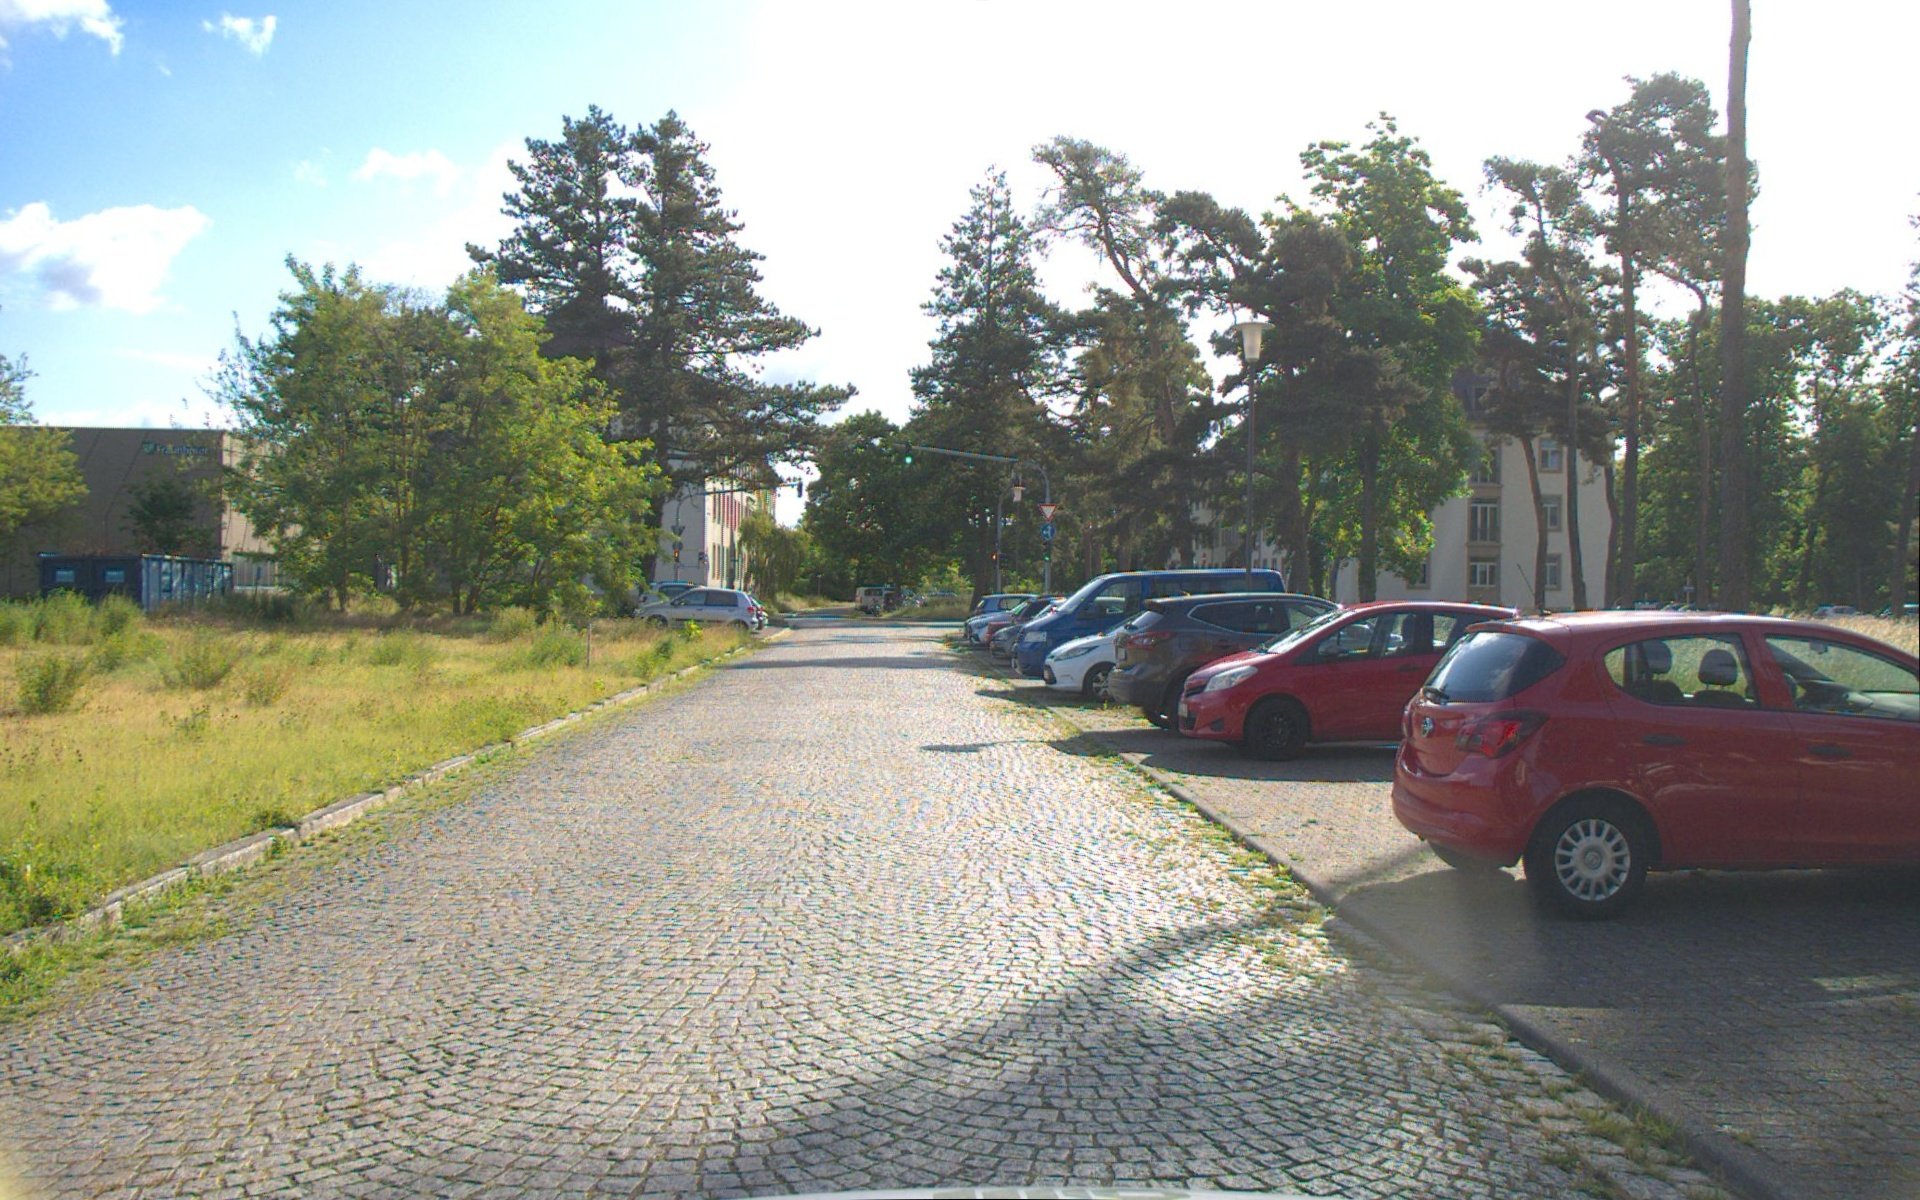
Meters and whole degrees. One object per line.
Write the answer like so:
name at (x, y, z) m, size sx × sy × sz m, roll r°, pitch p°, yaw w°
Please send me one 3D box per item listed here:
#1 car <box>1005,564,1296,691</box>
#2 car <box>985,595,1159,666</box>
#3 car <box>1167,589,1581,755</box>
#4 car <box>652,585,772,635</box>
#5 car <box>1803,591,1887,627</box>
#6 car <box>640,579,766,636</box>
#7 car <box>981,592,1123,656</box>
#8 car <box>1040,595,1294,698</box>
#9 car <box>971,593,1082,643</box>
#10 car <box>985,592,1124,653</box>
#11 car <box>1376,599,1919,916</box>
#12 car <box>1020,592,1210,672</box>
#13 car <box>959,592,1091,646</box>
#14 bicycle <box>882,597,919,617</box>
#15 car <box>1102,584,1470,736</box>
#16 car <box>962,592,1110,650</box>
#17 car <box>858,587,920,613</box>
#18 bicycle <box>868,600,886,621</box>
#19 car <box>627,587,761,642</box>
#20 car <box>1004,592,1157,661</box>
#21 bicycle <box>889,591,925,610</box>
car at (3.180, 0.448, 28.177) m, size 4.587 × 2.049 × 2.081 m, roll 1°, pitch 0°, yaw -6°
car at (2.419, 0.656, 36.294) m, size 3.603 × 1.493 × 1.644 m, roll 0°, pitch 0°, yaw -5°
car at (4.053, 0.686, 16.529) m, size 3.688 × 1.557 × 1.644 m, roll 1°, pitch 0°, yaw -5°
car at (-8.692, 0.347, 58.246) m, size 3.909 × 1.478 × 1.999 m, roll 4°, pitch 0°, yaw -4°
car at (51.959, 0.528, 97.132) m, size 3.908 × 2.049 × 1.999 m, roll 1°, pitch 0°, yaw -3°
car at (-8.630, 0.255, 55.846) m, size 3.909 × 1.629 × 1.999 m, roll 4°, pitch 0°, yaw -4°
car at (2.299, 0.598, 41.903) m, size 3.410 × 1.556 × 1.644 m, roll 1°, pitch 0°, yaw -5°
car at (3.149, 0.686, 25.580) m, size 3.647 × 1.514 × 1.643 m, roll 0°, pitch 0°, yaw -6°
car at (2.062, 0.552, 51.852) m, size 3.278 × 1.508 × 1.644 m, roll 1°, pitch 0°, yaw -5°
car at (2.501, 0.589, 44.379) m, size 3.532 × 1.556 × 1.644 m, roll 1°, pitch 0°, yaw -5°
car at (4.344, 0.759, 8.944) m, size 3.751 × 1.504 × 1.644 m, roll 0°, pitch 0°, yaw -4°
car at (3.082, 0.627, 33.442) m, size 3.620 × 1.491 × 1.645 m, roll -1°, pitch 0°, yaw -3°
car at (1.908, 0.547, 49.200) m, size 3.760 × 1.556 × 1.644 m, roll 1°, pitch 0°, yaw -5°
bicycle at (-3.639, 0.432, 100.567) m, size 2.135 × 1.119 × 0.804 m, roll 1°, pitch 0°, yaw -13°
car at (3.699, 0.664, 19.187) m, size 3.858 × 1.650 × 1.770 m, roll 1°, pitch 0°, yaw -5°
car at (2.109, 0.576, 46.437) m, size 3.957 × 1.556 × 1.643 m, roll 1°, pitch 0°, yaw -7°
car at (-5.070, 0.021, 117.975) m, size 4.392 × 1.758 × 1.999 m, roll 1°, pitch 0°, yaw -4°
bicycle at (-4.824, 0.617, 96.322) m, size 0.789 × 1.190 × 2.176 m, roll -1°, pitch 1°, yaw -9°
car at (-8.065, 0.430, 50.484) m, size 3.910 × 1.628 × 1.998 m, roll 1°, pitch 0°, yaw -6°
car at (2.818, 0.617, 39.239) m, size 3.410 × 1.556 × 1.644 m, roll 1°, pitch 0°, yaw -5°
bicycle at (-3.265, 0.015, 101.757) m, size 2.135 × 1.119 × 0.804 m, roll 1°, pitch 0°, yaw -13°
